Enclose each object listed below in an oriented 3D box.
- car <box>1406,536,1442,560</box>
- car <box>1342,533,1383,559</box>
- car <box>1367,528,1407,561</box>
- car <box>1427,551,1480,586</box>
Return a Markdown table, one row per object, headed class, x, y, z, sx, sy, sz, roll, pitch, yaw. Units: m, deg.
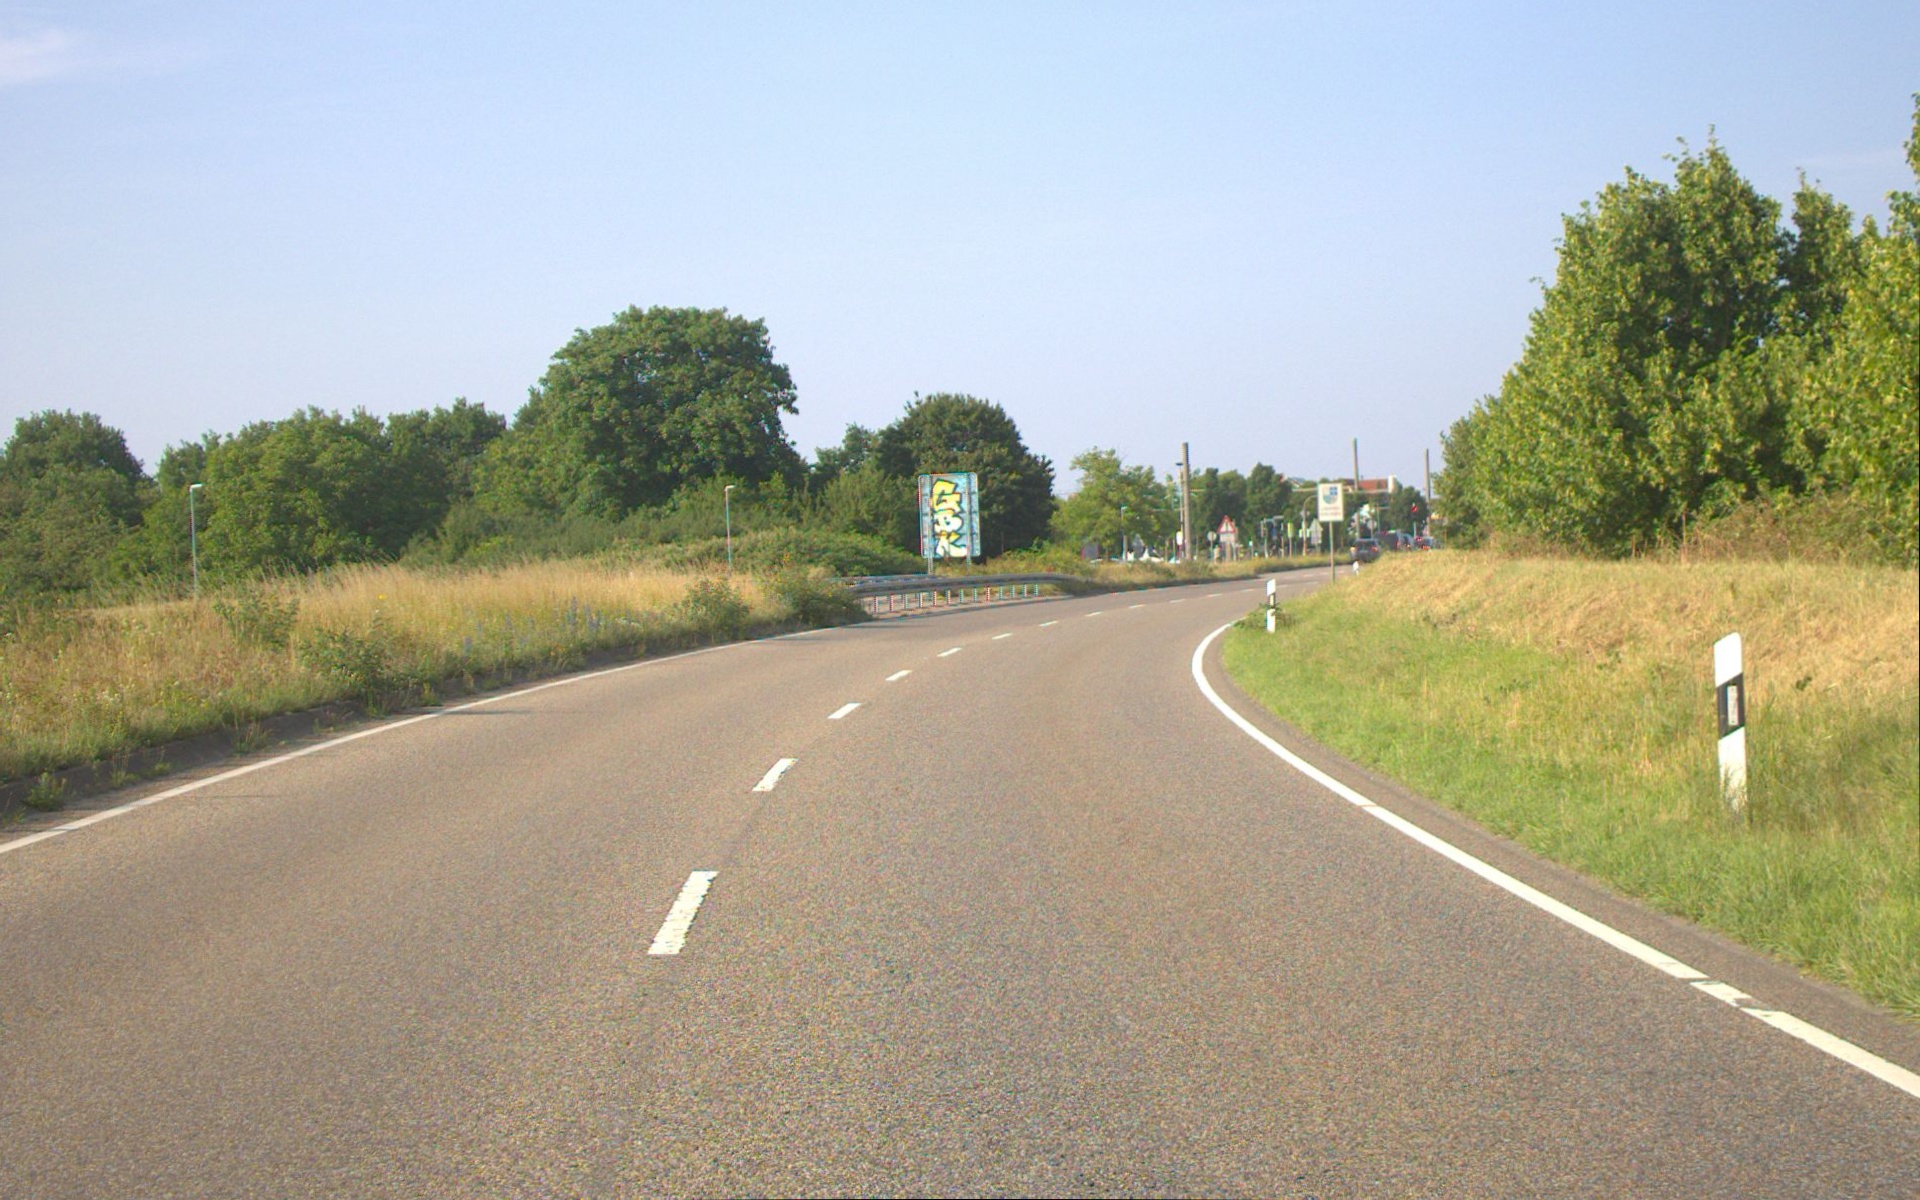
| class | x | y | z | sx | sy | sz | roll | pitch | yaw |
| --- | --- | --- | --- | --- | --- | --- | --- | --- | --- |
| car | 29.685 | -3.339 | 219.858 | 1.771 | 1.466 | 4.012 | -1 | 1 | 14 |
| car | 22.974 | -3.090 | 196.219 | 1.733 | 1.451 | 4.517 | -1 | 1 | 14 |
| car | 25.230 | -3.288 | 202.982 | 1.733 | 1.849 | 4.517 | -1 | 1 | 14 |
| car | 22.946 | -1.492 | 159.818 | 1.995 | 1.546 | 3.997 | -1 | 1 | 14 |
